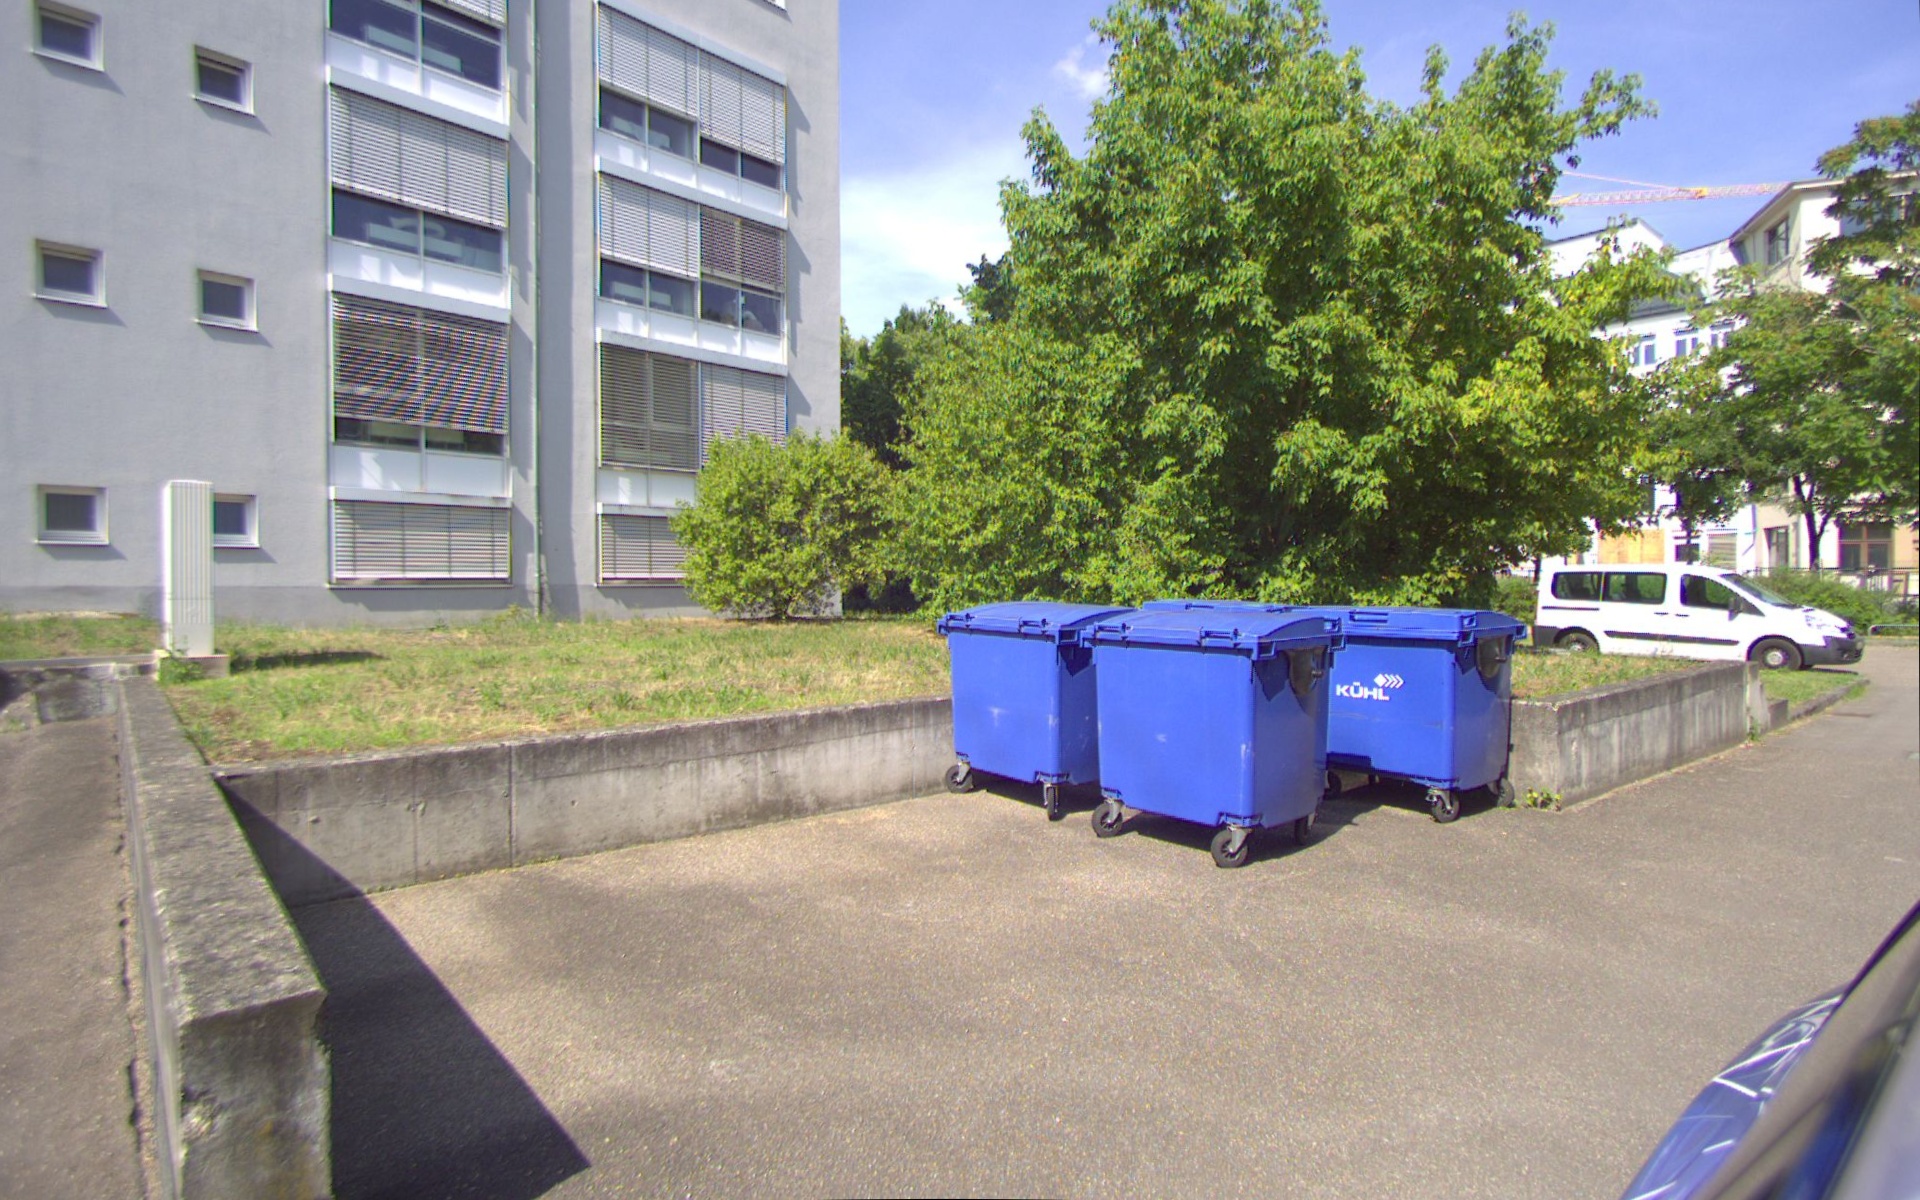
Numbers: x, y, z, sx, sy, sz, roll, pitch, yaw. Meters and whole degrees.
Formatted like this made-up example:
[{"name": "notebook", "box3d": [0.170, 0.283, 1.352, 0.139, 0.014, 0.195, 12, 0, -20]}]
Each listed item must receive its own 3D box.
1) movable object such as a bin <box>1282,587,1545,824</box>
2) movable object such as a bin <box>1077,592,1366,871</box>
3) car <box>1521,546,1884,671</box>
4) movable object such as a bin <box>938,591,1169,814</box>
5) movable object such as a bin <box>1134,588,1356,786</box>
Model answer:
[{"name": "movable object such as a bin", "box3d": [3.063, 0.621, 6.883, 1.122, 1.335, 1.250, -3, 4, -39]}, {"name": "movable object such as a bin", "box3d": [1.515, 0.652, 5.913, 1.110, 1.372, 1.248, -1, 1, -44]}, {"name": "car", "box3d": [13.319, 0.108, 18.467, 1.964, 1.957, 5.035, -1, 1, -39]}, {"name": "movable object such as a bin", "box3d": [0.648, 0.623, 7.029, 1.123, 1.353, 1.156, -1, 1, -44]}, {"name": "movable object such as a bin", "box3d": [2.204, 0.596, 7.876, 1.121, 1.357, 1.250, -1, 1, -38]}]
